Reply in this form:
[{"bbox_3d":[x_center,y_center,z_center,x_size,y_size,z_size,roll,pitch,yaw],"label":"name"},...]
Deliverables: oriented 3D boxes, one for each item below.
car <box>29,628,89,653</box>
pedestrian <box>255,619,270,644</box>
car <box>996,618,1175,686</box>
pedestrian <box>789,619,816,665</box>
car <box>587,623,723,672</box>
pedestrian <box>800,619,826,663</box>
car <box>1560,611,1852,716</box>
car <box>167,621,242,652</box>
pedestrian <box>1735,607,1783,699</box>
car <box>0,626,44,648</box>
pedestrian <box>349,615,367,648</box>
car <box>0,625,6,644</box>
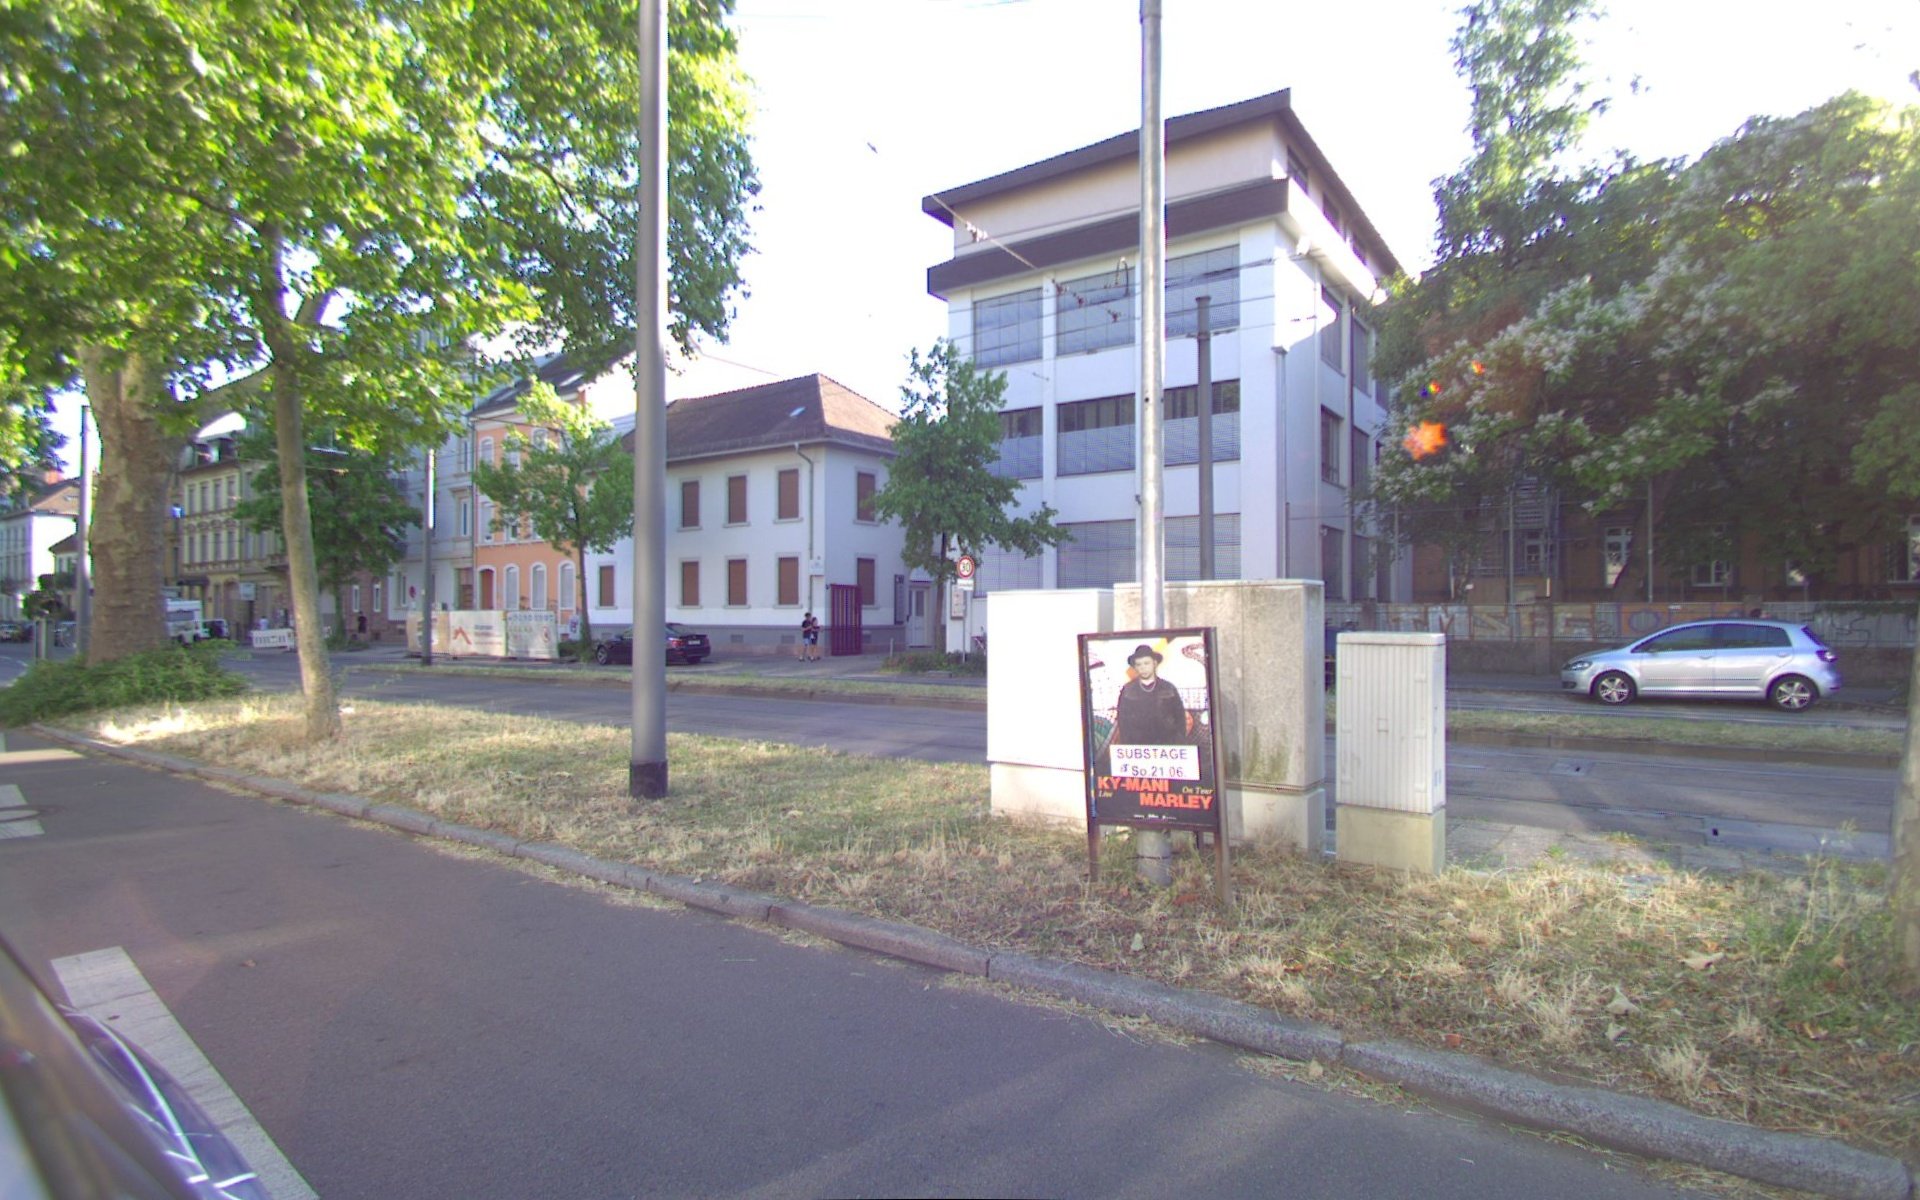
[{"bbox_3d":[-63.463,2.819,71.274,4.503,1.551,2.065,-1,1,33],"label":"car"},{"bbox_3d":[-42.843,1.943,62.173,0.615,1.540,0.633,-1,-2,39],"label":"pedestrian"},{"bbox_3d":[3.156,1.260,25.551,3.985,1.501,2.065,-1,1,33],"label":"car"},{"bbox_3d":[-5.350,1.426,34.395,0.708,1.540,0.532,-1,-2,29],"label":"pedestrian"},{"bbox_3d":[-10.579,1.604,35.032,4.566,1.481,2.065,-1,1,33],"label":"car"},{"bbox_3d":[-5.140,1.425,35.387,0.710,1.540,0.531,-1,-2,35],"label":"pedestrian"},{"bbox_3d":[13.436,1.079,18.564,4.086,1.631,2.065,-1,1,33],"label":"car"},{"bbox_3d":[-44.085,2.106,59.037,4.520,1.686,2.065,-1,1,33],"label":"car"},{"bbox_3d":[15.025,0.988,19.039,0.630,1.677,0.563,-1,1,34],"label":"pedestrian"},{"bbox_3d":[-73.875,2.851,79.199,5.090,1.551,2.065,-1,1,33],"label":"car"},{"bbox_3d":[-32.910,1.713,55.343,0.702,1.823,0.556,-1,-2,29],"label":"pedestrian"},{"bbox_3d":[-81.341,2.896,84.108,4.027,1.551,2.065,-1,1,33],"label":"car"}]
